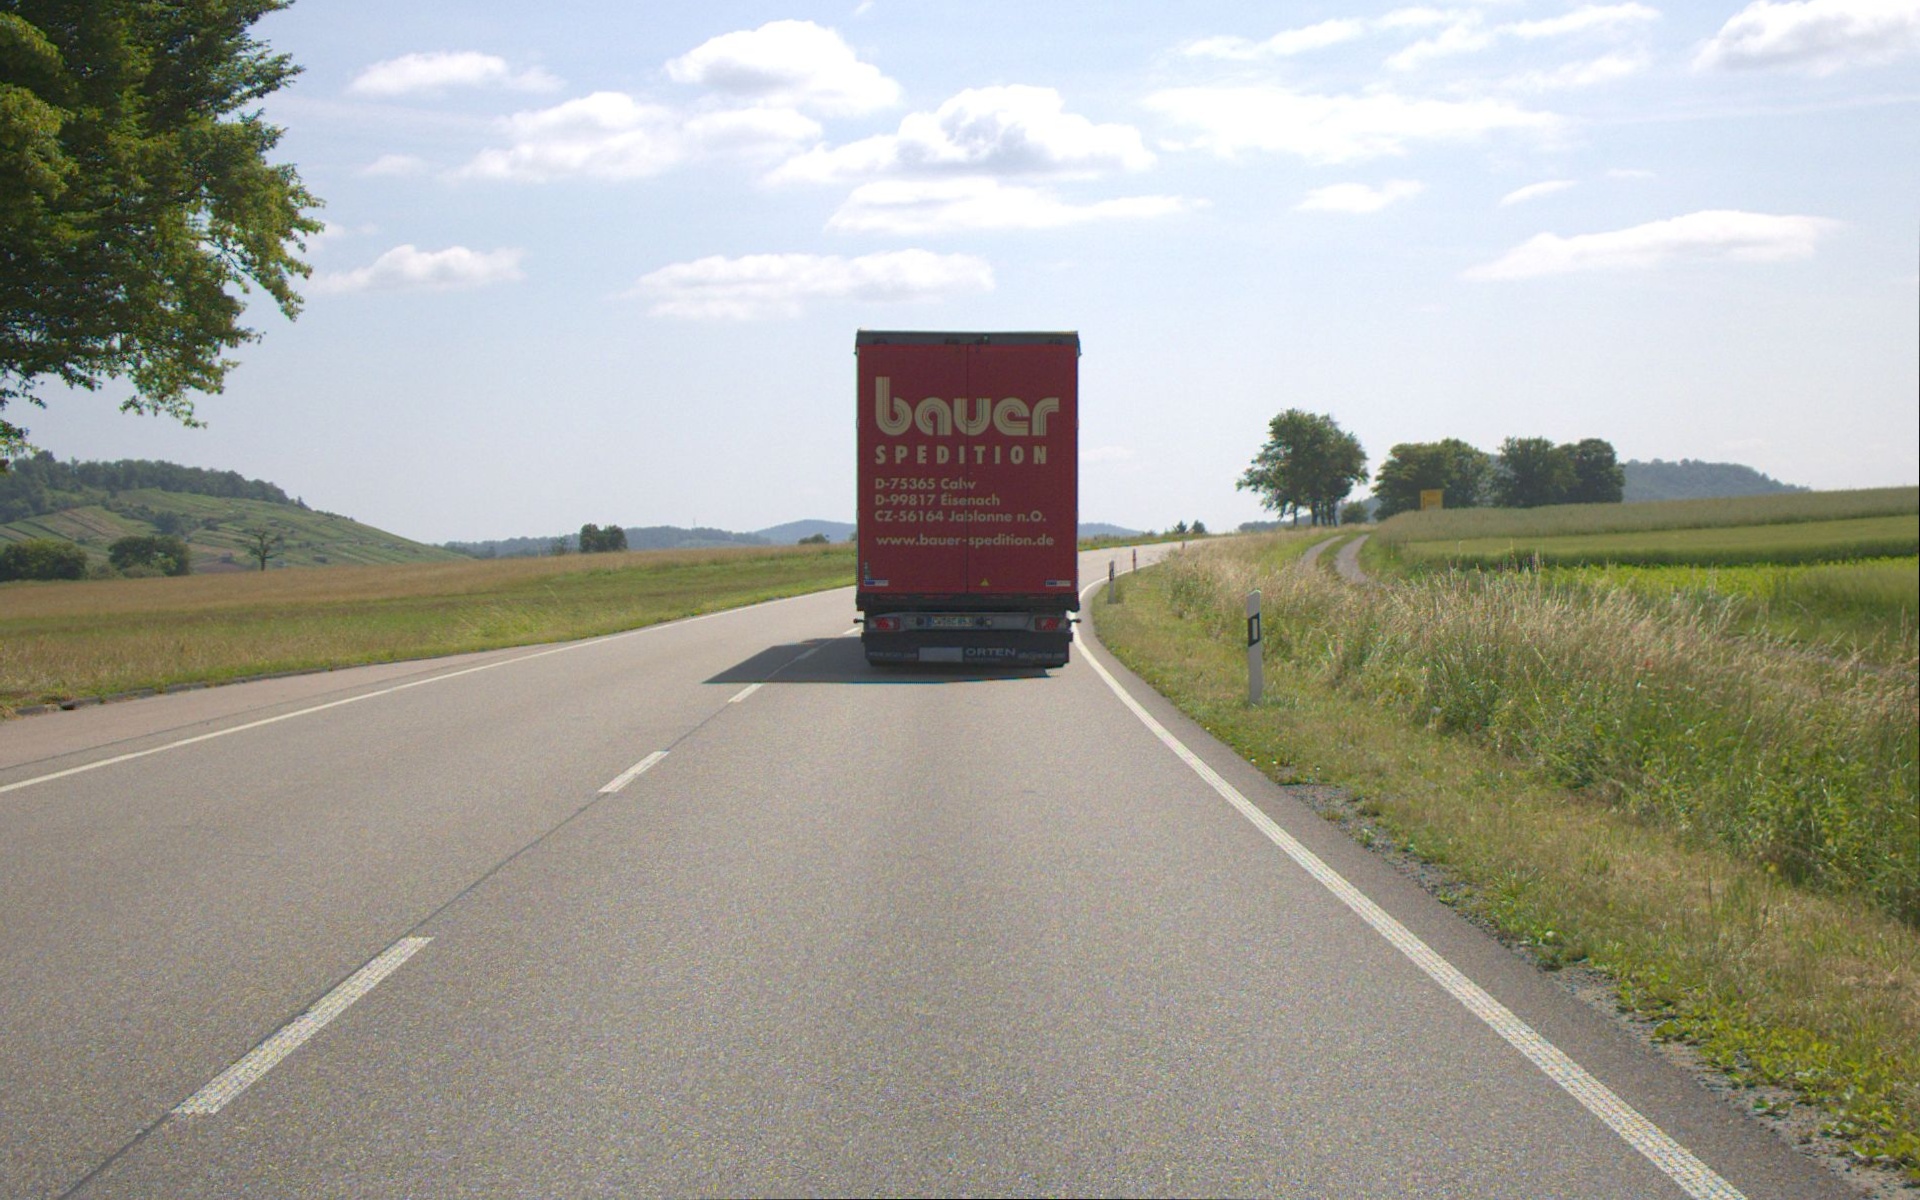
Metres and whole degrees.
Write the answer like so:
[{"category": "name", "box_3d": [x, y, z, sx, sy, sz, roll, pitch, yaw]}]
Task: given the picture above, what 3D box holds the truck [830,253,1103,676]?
[{"category": "truck", "box_3d": [-0.035, -1.585, 43.542, 2.975, 4.697, 9.367, 1, 1, -1]}]
